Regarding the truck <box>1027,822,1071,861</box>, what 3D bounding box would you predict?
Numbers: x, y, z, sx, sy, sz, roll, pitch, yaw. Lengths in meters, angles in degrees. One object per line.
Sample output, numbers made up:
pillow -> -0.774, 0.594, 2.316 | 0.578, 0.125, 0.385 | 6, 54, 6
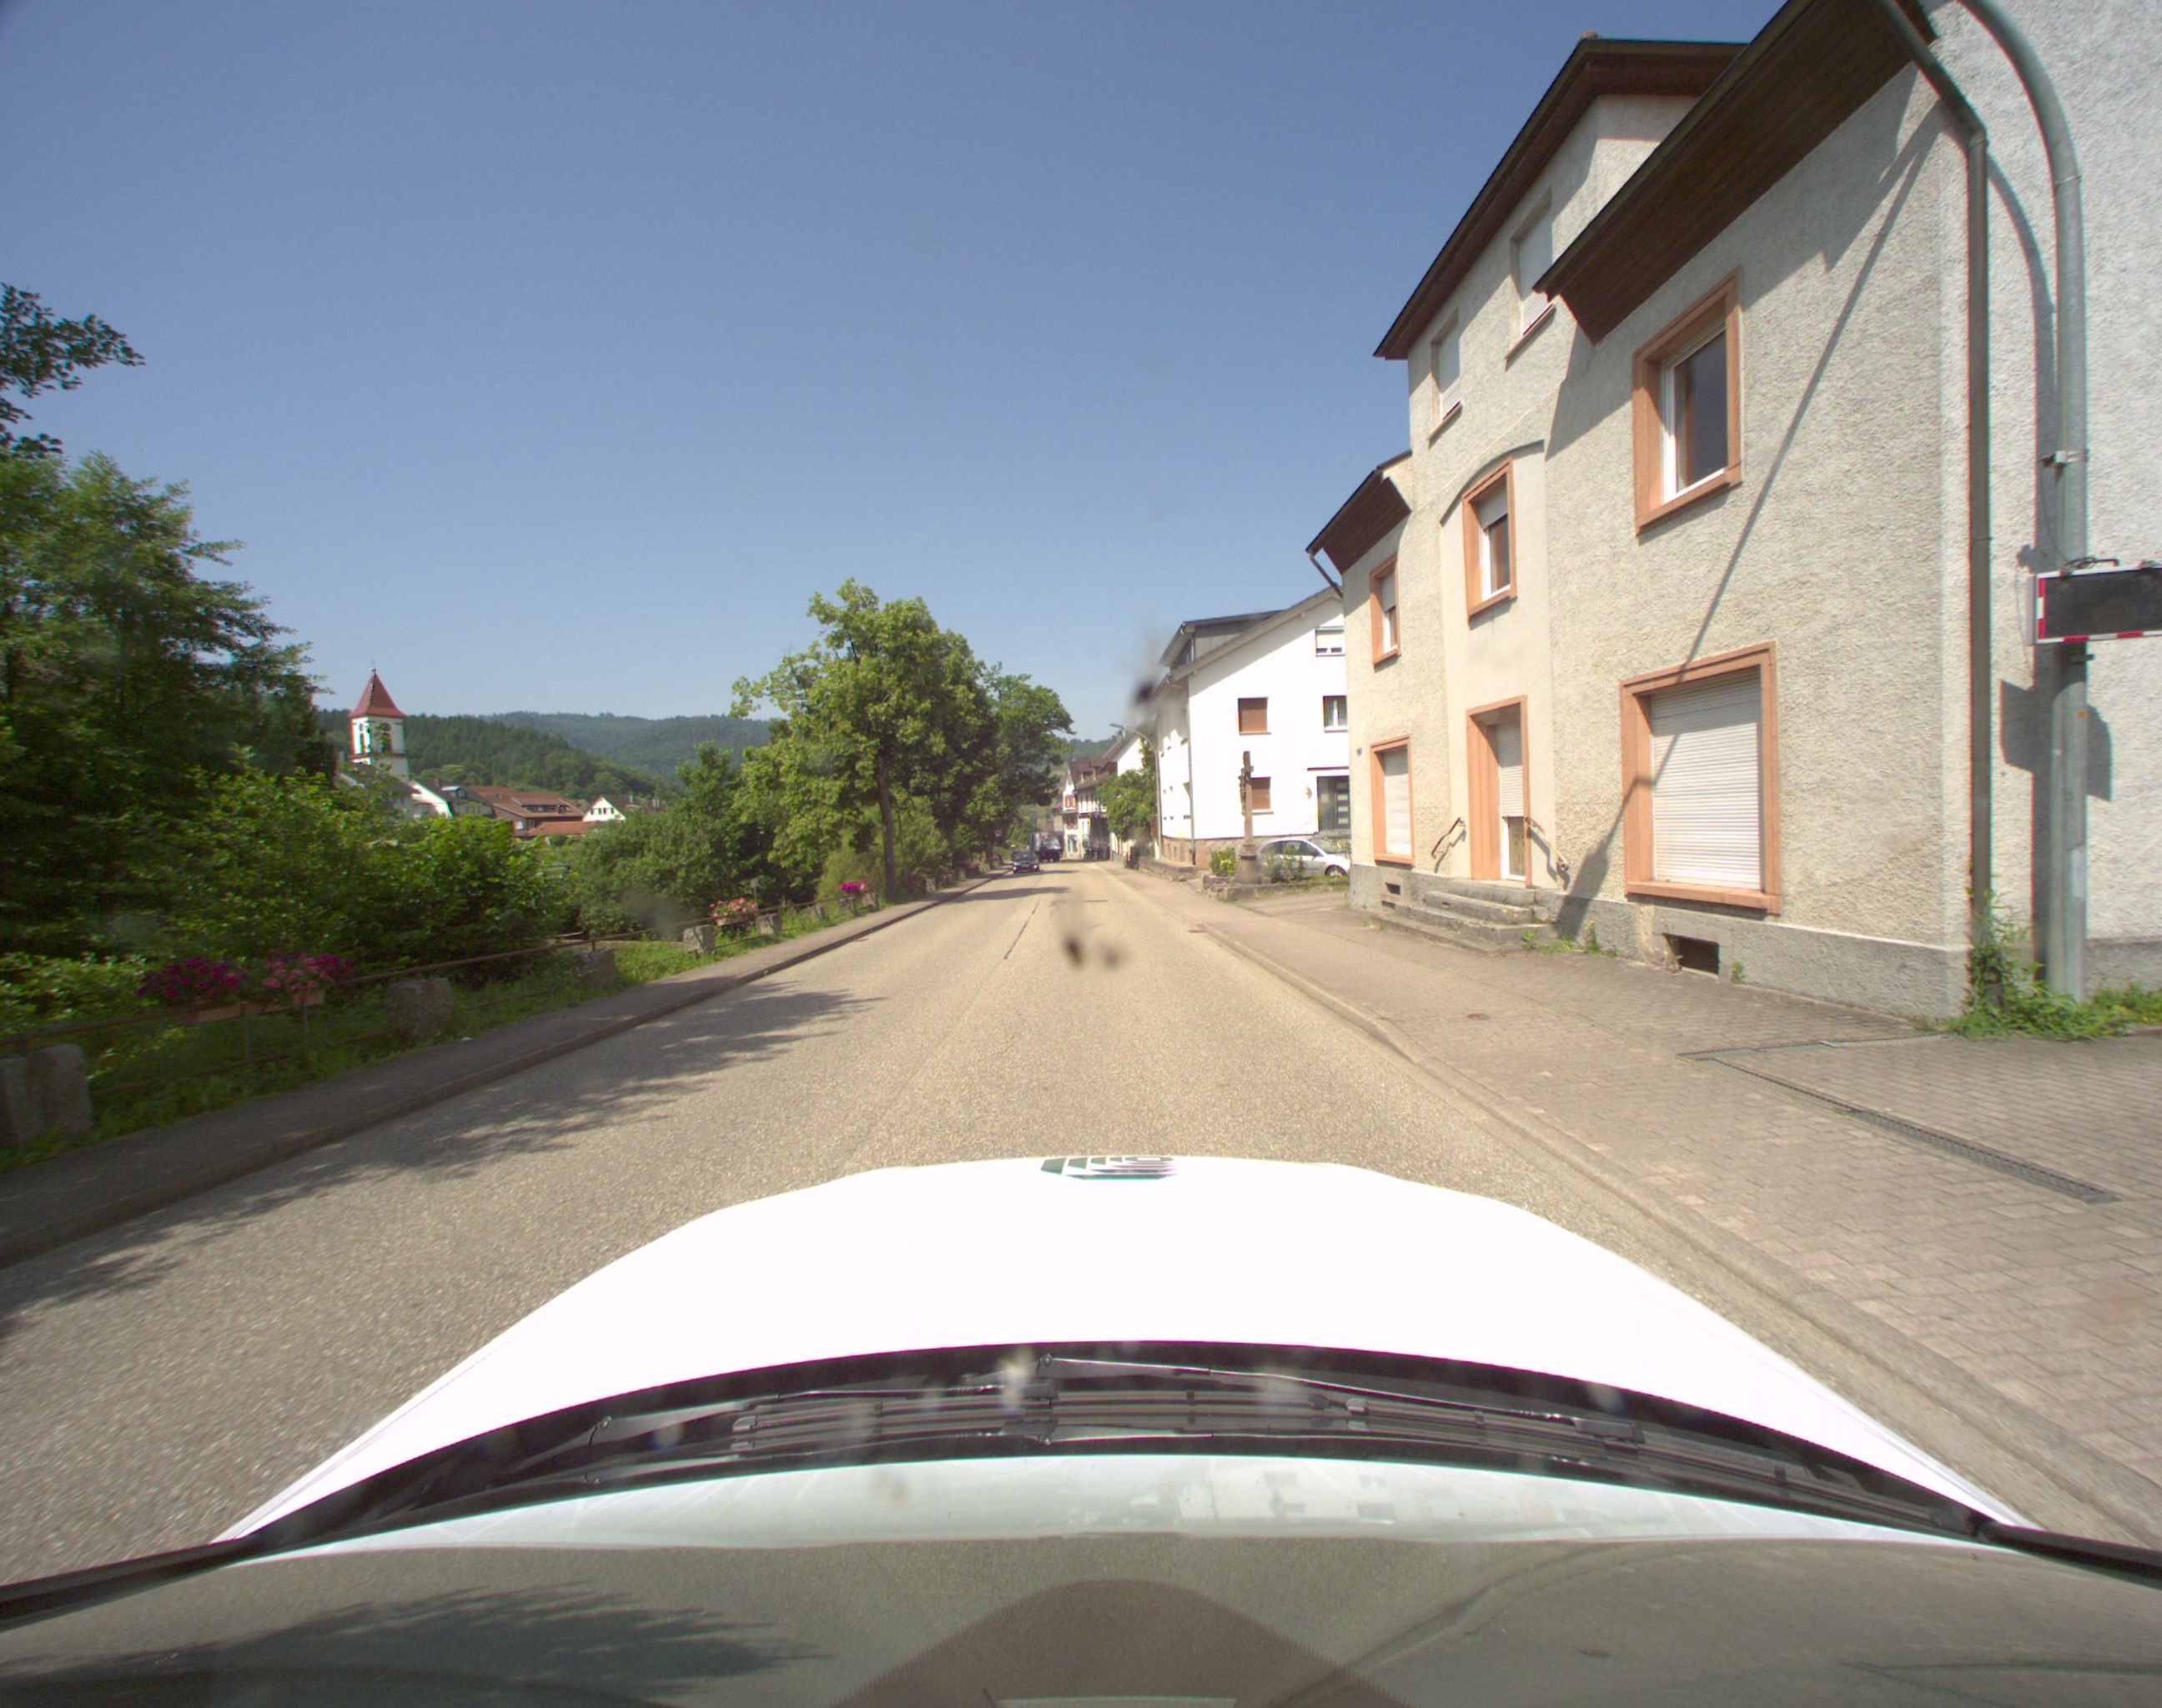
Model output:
truck -> -3.830, -1.398, 95.078 | 3.366, 3.782, 8.404 | -6, -1, -12

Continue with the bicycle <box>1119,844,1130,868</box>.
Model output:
bicycle -> 2.708, 0.123, 50.988 | 0.424, 1.396, 2.276 | -6, 1, 0

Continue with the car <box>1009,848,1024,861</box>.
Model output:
car -> -10.039, 0.030, 126.922 | 1.775, 1.734, 3.983 | -6, -1, -12

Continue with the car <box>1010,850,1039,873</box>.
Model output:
car -> -3.889, 0.501, 56.377 | 1.661, 1.418, 4.085 | -4, 0, -1

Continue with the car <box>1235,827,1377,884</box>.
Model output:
car -> 6.776, 0.071, 24.749 | 3.729, 1.427, 1.620 | -5, 0, 44
